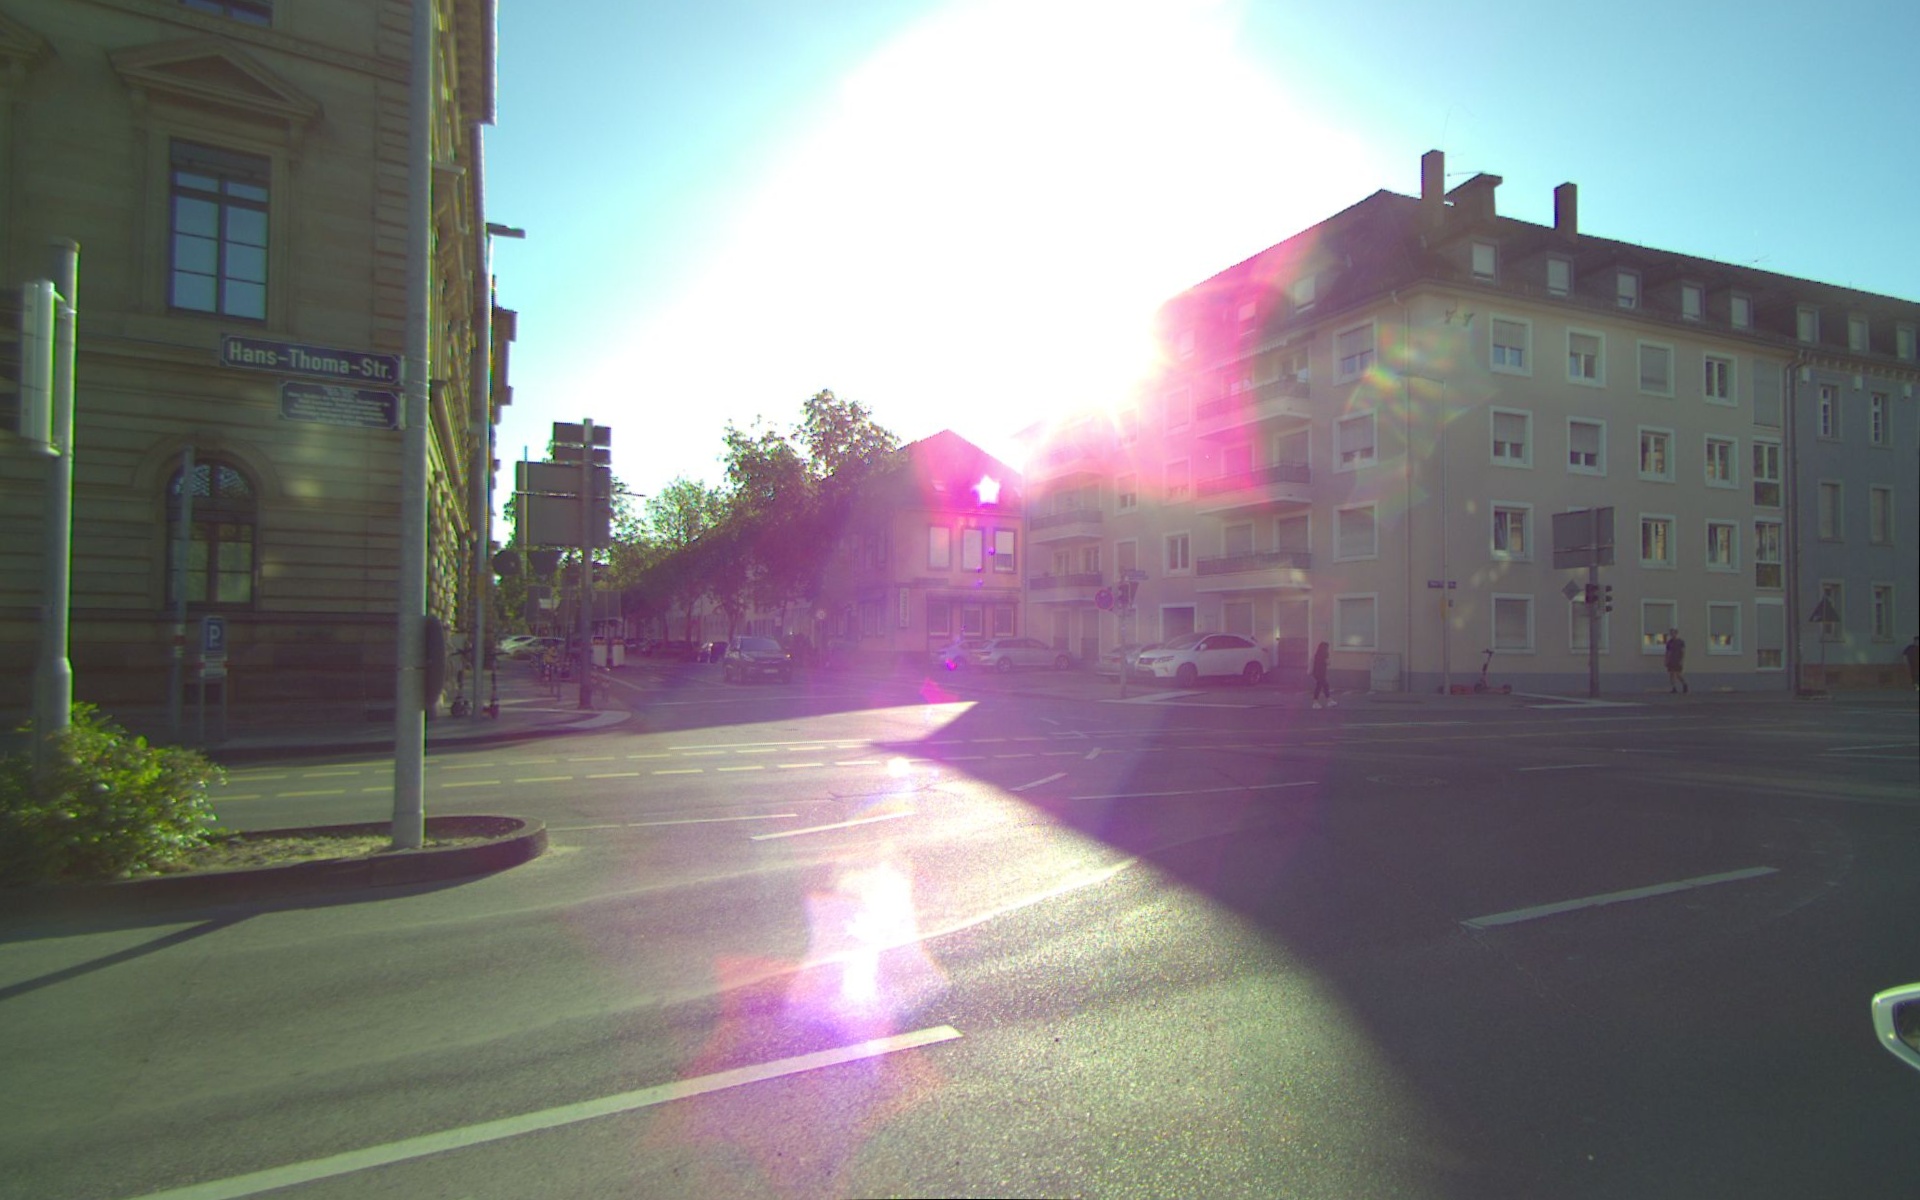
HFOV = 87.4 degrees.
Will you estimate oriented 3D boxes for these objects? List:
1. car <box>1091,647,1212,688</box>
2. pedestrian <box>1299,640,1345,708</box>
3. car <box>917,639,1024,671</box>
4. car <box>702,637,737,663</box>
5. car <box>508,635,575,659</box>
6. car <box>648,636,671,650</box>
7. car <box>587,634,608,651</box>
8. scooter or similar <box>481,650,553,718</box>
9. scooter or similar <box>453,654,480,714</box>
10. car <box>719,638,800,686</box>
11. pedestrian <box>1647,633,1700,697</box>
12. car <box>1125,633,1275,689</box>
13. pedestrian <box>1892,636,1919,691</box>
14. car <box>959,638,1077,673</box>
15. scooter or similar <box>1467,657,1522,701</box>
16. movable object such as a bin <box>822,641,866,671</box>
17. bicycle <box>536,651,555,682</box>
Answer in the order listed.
[{"bbox_3d":[6.568,2.275,34.418,3.948,1.327,1.600,2,-3,-27],"label":"car"},{"bbox_3d":[8.856,1.804,24.582,0.806,1.605,0.630,1,1,-22],"label":"pedestrian"},{"bbox_3d":[0.512,2.615,47.655,4.722,1.451,1.988,2,-3,-25],"label":"car"},{"bbox_3d":[-17.185,3.538,71.667,1.697,1.780,3.824,2,-3,-25],"label":"car"},{"bbox_3d":[-29.567,3.353,70.993,4.203,1.557,1.818,2,-6,-27],"label":"car"},{"bbox_3d":[-31.835,4.531,106.234,1.680,1.468,3.975,2,-3,-26],"label":"car"},{"bbox_3d":[-38.558,4.463,106.702,1.730,1.750,3.822,2,-3,-25],"label":"car"},{"bbox_3d":[-8.346,1.562,19.023,0.447,1.204,2.034,0,-2,0],"label":"scooter or similar"},{"bbox_3d":[-9.241,1.546,18.830,0.388,1.065,1.323,1,-2,-25],"label":"scooter or similar"},{"bbox_3d":[-7.274,2.187,36.135,1.971,1.592,4.664,1,-3,-23],"label":"car"},{"bbox_3d":[21.743,1.957,30.614,0.999,1.888,0.866,1,0,-20],"label":"pedestrian"},{"bbox_3d":[7.762,1.933,32.419,4.555,1.708,1.987,2,-3,-27],"label":"car"},{"bbox_3d":[33.687,2.243,35.554,0.998,1.871,0.630,1,1,-22],"label":"pedestrian"},{"bbox_3d":[2.506,2.391,43.314,4.722,1.451,1.988,2,-3,-25],"label":"car"},{"bbox_3d":[15.028,2.204,28.241,1.452,1.201,0.532,1,-1,-21],"label":"scooter or similar"},{"bbox_3d":[-5.715,2.745,49.391,1.866,1.474,1.104,2,-2,-28],"label":"movable object such as a bin"},{"bbox_3d":[-13.782,2.188,33.391,0.567,0.979,1.820,2,-2,-23],"label":"bicycle"}]
